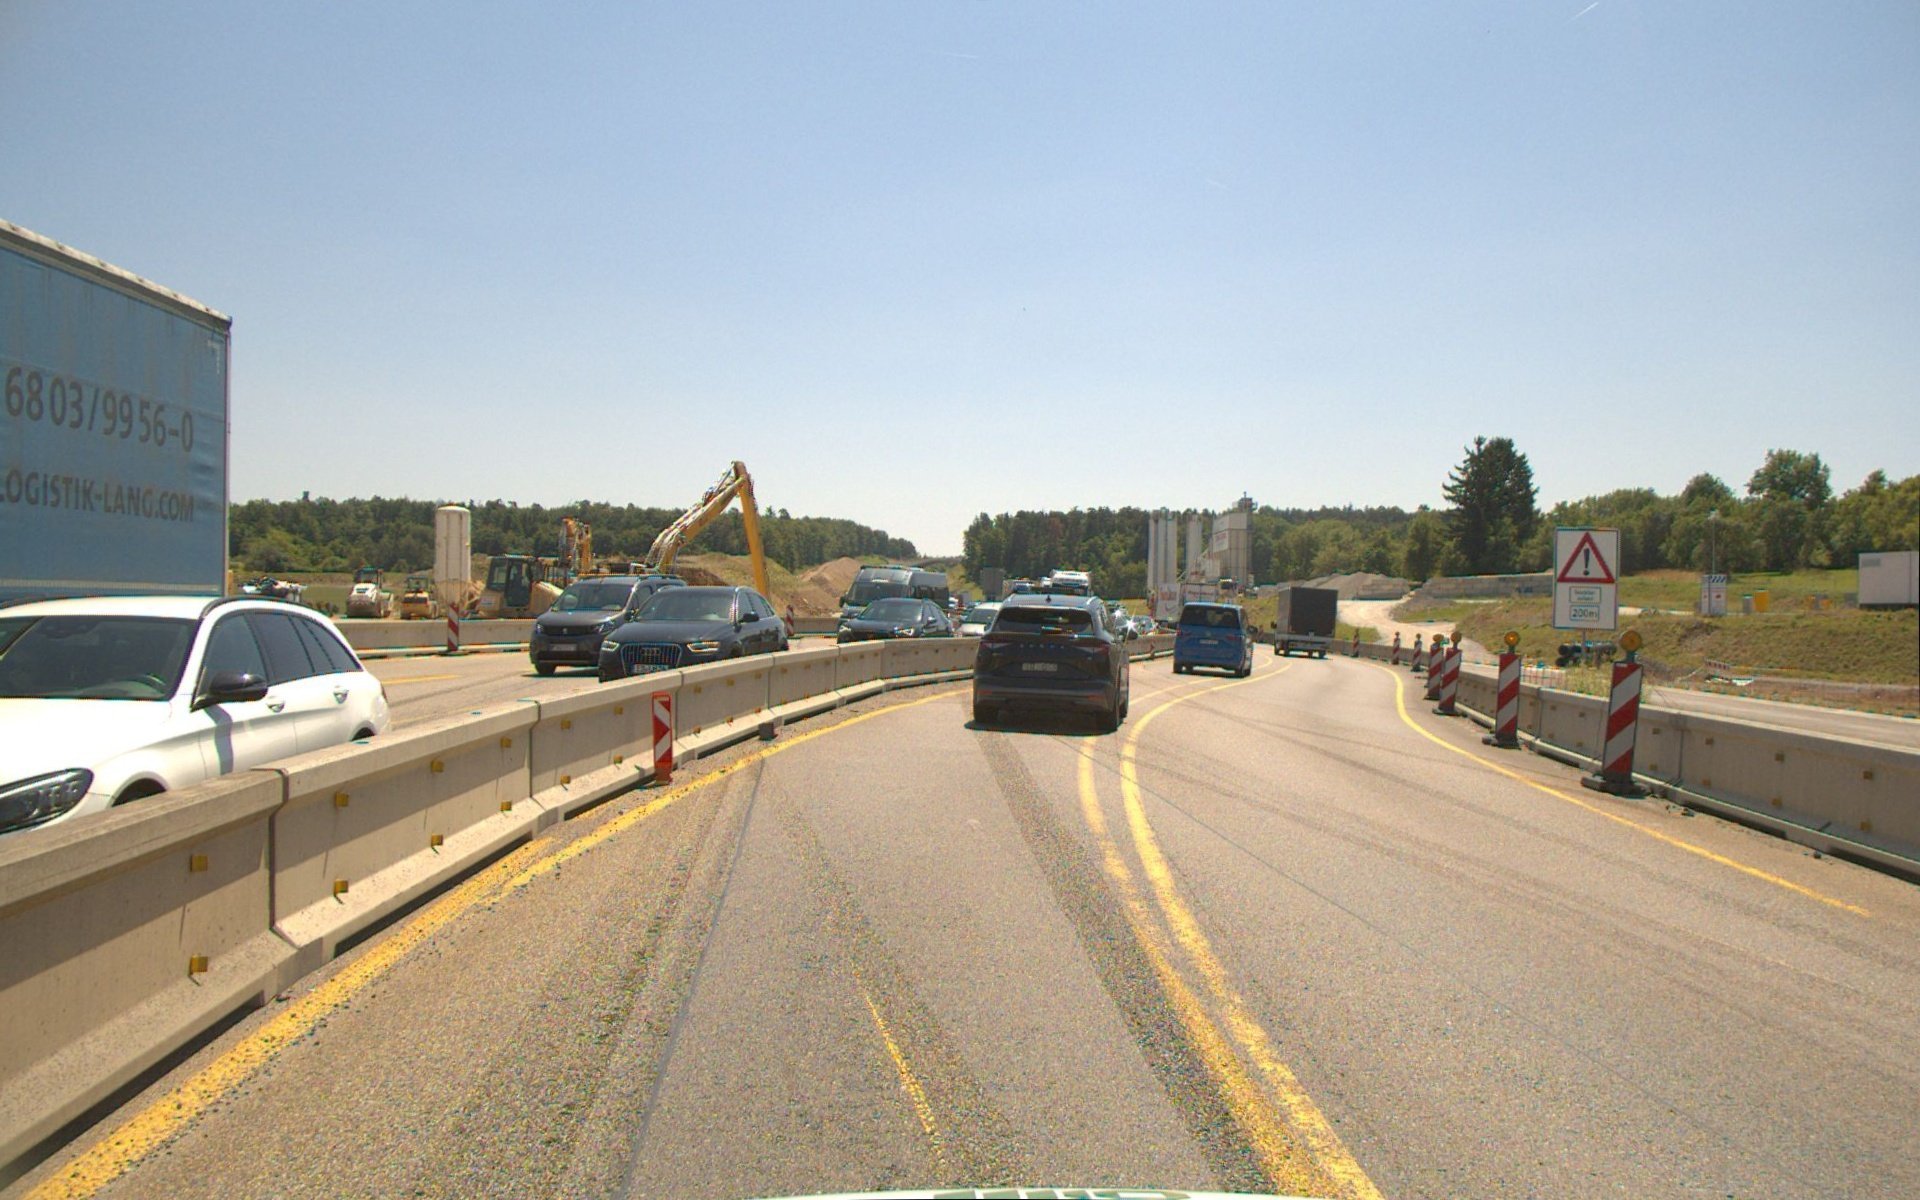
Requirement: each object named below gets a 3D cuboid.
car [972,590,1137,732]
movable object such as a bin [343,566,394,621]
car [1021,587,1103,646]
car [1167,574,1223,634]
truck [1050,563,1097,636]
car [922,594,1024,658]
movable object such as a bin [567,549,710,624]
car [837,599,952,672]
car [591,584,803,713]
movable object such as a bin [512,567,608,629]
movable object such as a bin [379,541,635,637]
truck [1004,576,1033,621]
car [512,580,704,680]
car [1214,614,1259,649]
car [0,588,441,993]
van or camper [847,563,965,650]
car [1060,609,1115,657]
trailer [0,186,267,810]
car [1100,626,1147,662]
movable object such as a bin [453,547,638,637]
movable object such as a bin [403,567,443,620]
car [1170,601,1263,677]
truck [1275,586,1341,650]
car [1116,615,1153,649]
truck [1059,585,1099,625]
[{"bbox_3d":[1.323,0.728,21.465,1.803,1.609,4.003,2,0,8],"label":"car"},{"bbox_3d":[-37.512,-0.437,105.066,2.382,3.180,5.460,5,0,-15],"label":"movable object such as a bin"},{"bbox_3d":[3.562,0.594,56.830,1.833,1.906,5.061,1,-1,15],"label":"car"},{"bbox_3d":[18.098,0.303,127.802,3.365,4.171,9.201,5,0,4],"label":"car"},{"bbox_3d":[7.130,-0.033,104.466,2.713,4.334,6.201,2,0,3],"label":"truck"},{"bbox_3d":[0.428,0.706,46.920,1.720,1.644,4.230,3,0,17],"label":"car"},{"bbox_3d":[-12.332,-0.458,63.941,3.223,2.482,5.443,5,0,15],"label":"movable object such as a bin"},{"bbox_3d":[-1.371,0.741,36.456,1.653,1.507,4.474,0,0,10],"label":"car"},{"bbox_3d":[-3.582,0.624,23.415,1.730,1.635,4.713,0,0,7],"label":"car"},{"bbox_3d":[-20.822,-0.172,86.394,3.587,3.078,4.995,0,2,3],"label":"movable object such as a bin"},{"bbox_3d":[-14.779,-0.381,53.784,7.766,2.474,3.708,4,0,33],"label":"movable object such as a bin"},{"bbox_3d":[5.838,-0.148,165.836,2.715,4.210,10.872,2,0,2],"label":"truck"},{"bbox_3d":[-6.717,0.536,32.112,1.737,1.796,4.713,0,0,14],"label":"car"},{"bbox_3d":[12.913,1.443,77.417,2.002,1.553,5.070,1,0,9],"label":"car"},{"bbox_3d":[-4.266,0.689,8.291,1.975,1.470,4.586,-1,0,-2],"label":"car"},{"bbox_3d":[-1.608,0.215,52.401,2.054,2.586,6.309,0,0,14],"label":"van or camper"},{"bbox_3d":[4.942,1.252,63.646,1.478,1.631,3.956,5,0,12],"label":"car"},{"bbox_3d":[-7.806,-0.665,8.773,2.855,4.201,13.911,0,1,-2],"label":"trailer"},{"bbox_3d":[7.191,1.899,72.401,1.689,1.432,4.133,3,0,9],"label":"car"},{"bbox_3d":[-15.105,-0.292,60.271,5.929,2.811,2.810,4,0,23],"label":"movable object such as a bin"},{"bbox_3d":[-34.483,-0.458,106.248,1.961,3.180,3.742,5,0,-15],"label":"movable object such as a bin"},{"bbox_3d":[6.998,1.012,44.744,1.951,1.876,4.003,2,0,16],"label":"car"},{"bbox_3d":[17.091,0.832,81.449,2.616,2.997,5.624,1,0,6],"label":"truck"},{"bbox_3d":[8.457,1.534,80.071,1.621,1.478,4.251,3,0,7],"label":"car"},{"bbox_3d":[14.101,0.557,196.599,3.406,4.292,10.375,6,1,-1],"label":"truck"}]
